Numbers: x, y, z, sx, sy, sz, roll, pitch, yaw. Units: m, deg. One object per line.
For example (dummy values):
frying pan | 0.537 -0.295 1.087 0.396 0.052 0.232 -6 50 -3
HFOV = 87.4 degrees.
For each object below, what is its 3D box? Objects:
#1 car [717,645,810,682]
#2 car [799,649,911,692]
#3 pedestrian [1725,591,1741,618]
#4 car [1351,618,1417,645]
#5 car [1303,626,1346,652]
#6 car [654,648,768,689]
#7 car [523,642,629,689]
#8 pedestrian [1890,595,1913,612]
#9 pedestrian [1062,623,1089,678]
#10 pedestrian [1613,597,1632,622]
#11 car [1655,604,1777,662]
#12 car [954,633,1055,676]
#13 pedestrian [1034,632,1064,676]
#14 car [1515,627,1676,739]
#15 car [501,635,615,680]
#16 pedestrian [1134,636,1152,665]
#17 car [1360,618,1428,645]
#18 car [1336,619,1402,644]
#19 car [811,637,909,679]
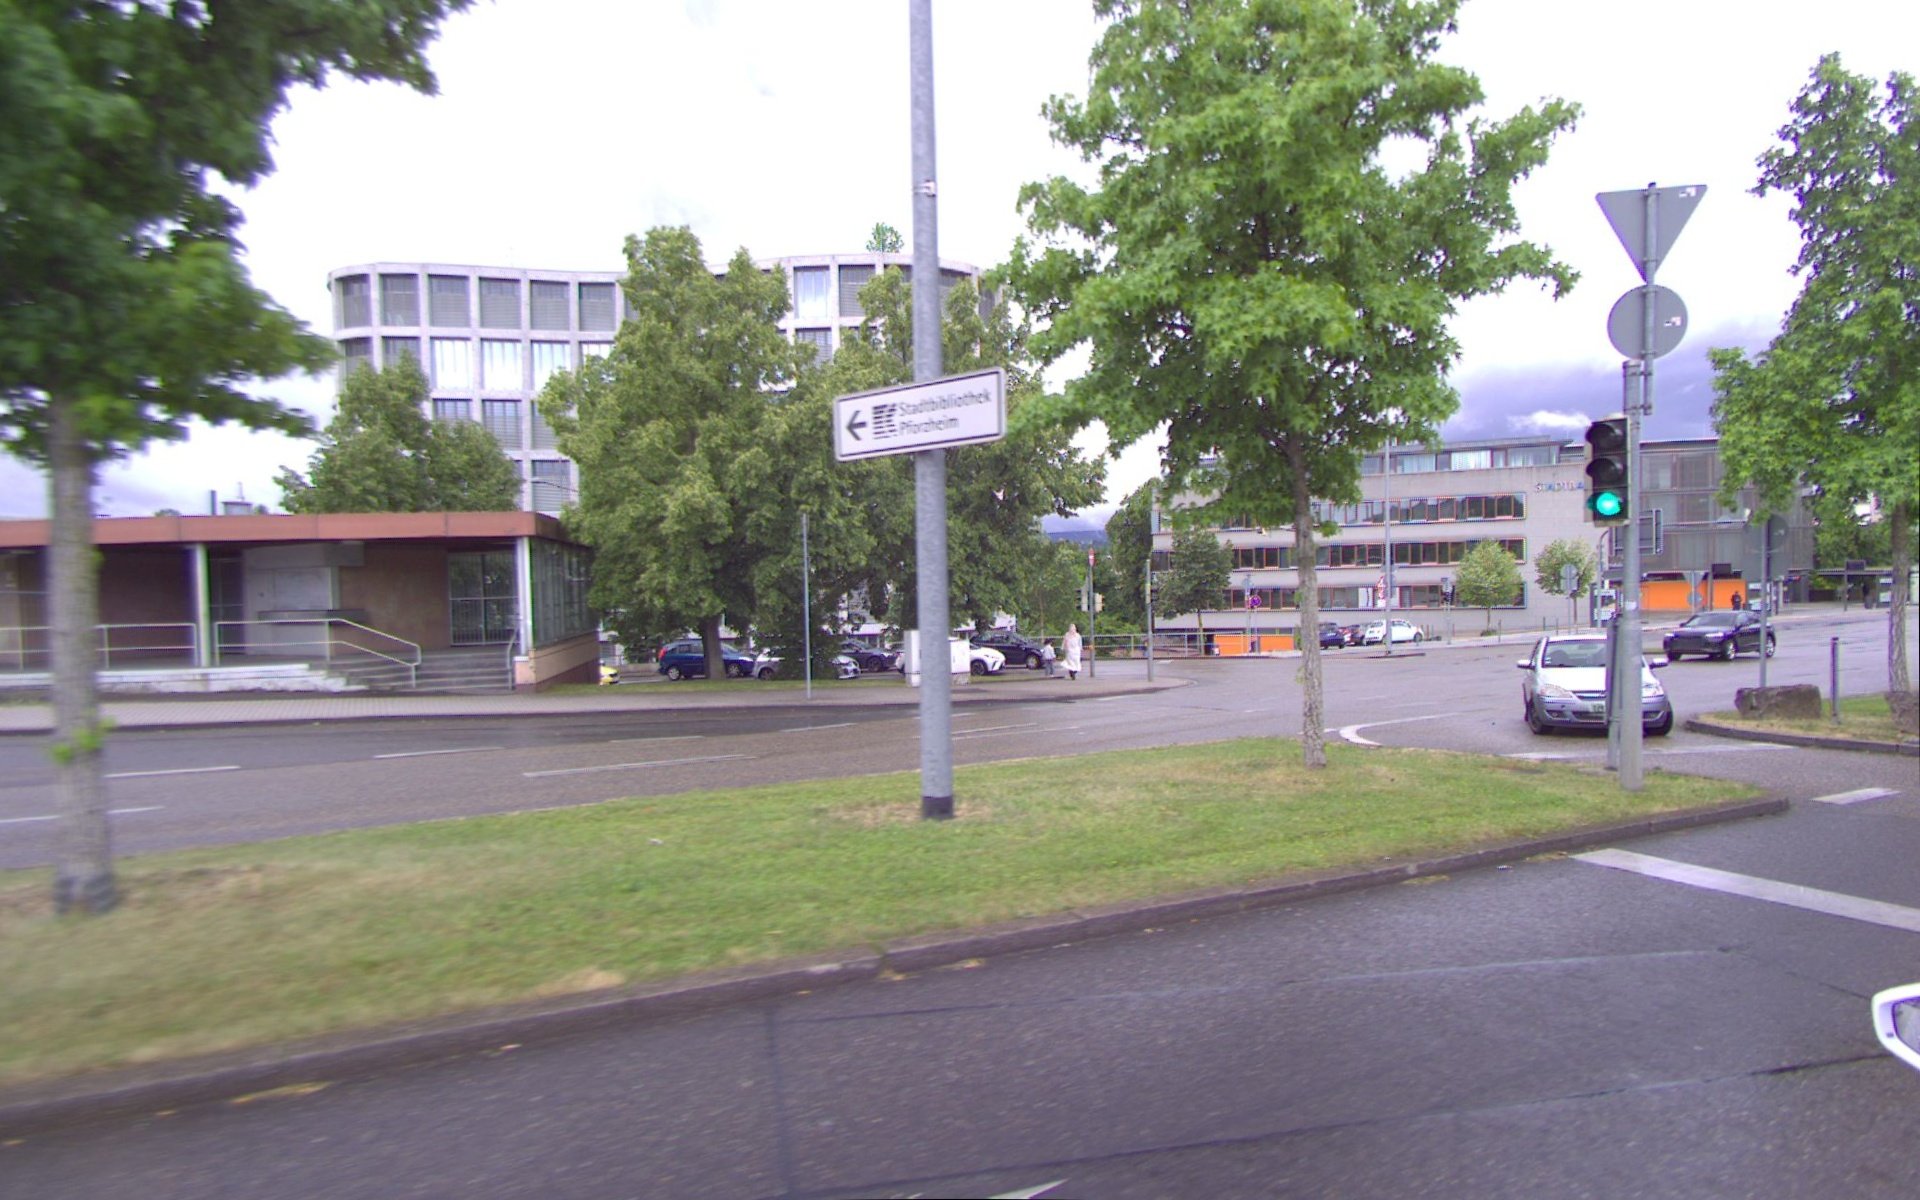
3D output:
car | -7.756 2.510 39.775 3.250 1.313 1.499 -2 0 11
car | -4.093 2.748 39.361 3.973 1.528 1.729 -2 0 11
pedestrian | 50.132 0.285 65.169 0.752 1.706 0.473 -2 -1 -24
car | 26.409 1.935 62.567 3.522 1.515 1.628 -2 0 -15
car | 21.172 2.245 58.478 1.453 1.369 3.584 -1 0 4
car | -10.811 2.977 43.760 4.488 1.588 1.729 -1 0 5
car | -15.576 2.651 40.839 3.578 1.721 1.729 -1 0 7
pedestrian | 72.855 0.257 77.739 0.834 1.285 0.977 -2 3 -9
pedestrian | 3.400 1.488 29.505 0.641 1.590 0.631 -1 -3 21
pedestrian | 39.073 0.563 59.275 0.713 1.411 0.674 -1 0 -32
car | 26.221 1.104 34.777 4.807 1.684 1.897 -3 1 -34
car | 1.808 2.176 40.433 3.760 1.588 1.729 -2 0 13
pedestrian | 2.719 1.640 30.643 0.626 1.309 0.645 2 -3 -43
car | 9.527 1.182 15.322 1.607 1.467 3.873 -2 -3 26
car | -17.805 2.553 44.572 4.340 1.842 1.729 -1 0 7
pedestrian | 10.277 2.813 56.316 0.697 1.604 0.667 -1 0 -32
car | 26.252 1.899 60.778 3.522 1.515 1.628 -2 0 -15
car | 27.083 2.086 66.662 3.711 1.515 1.767 -2 0 9
car | -4.201 2.438 42.382 3.760 1.588 1.729 -2 0 13
